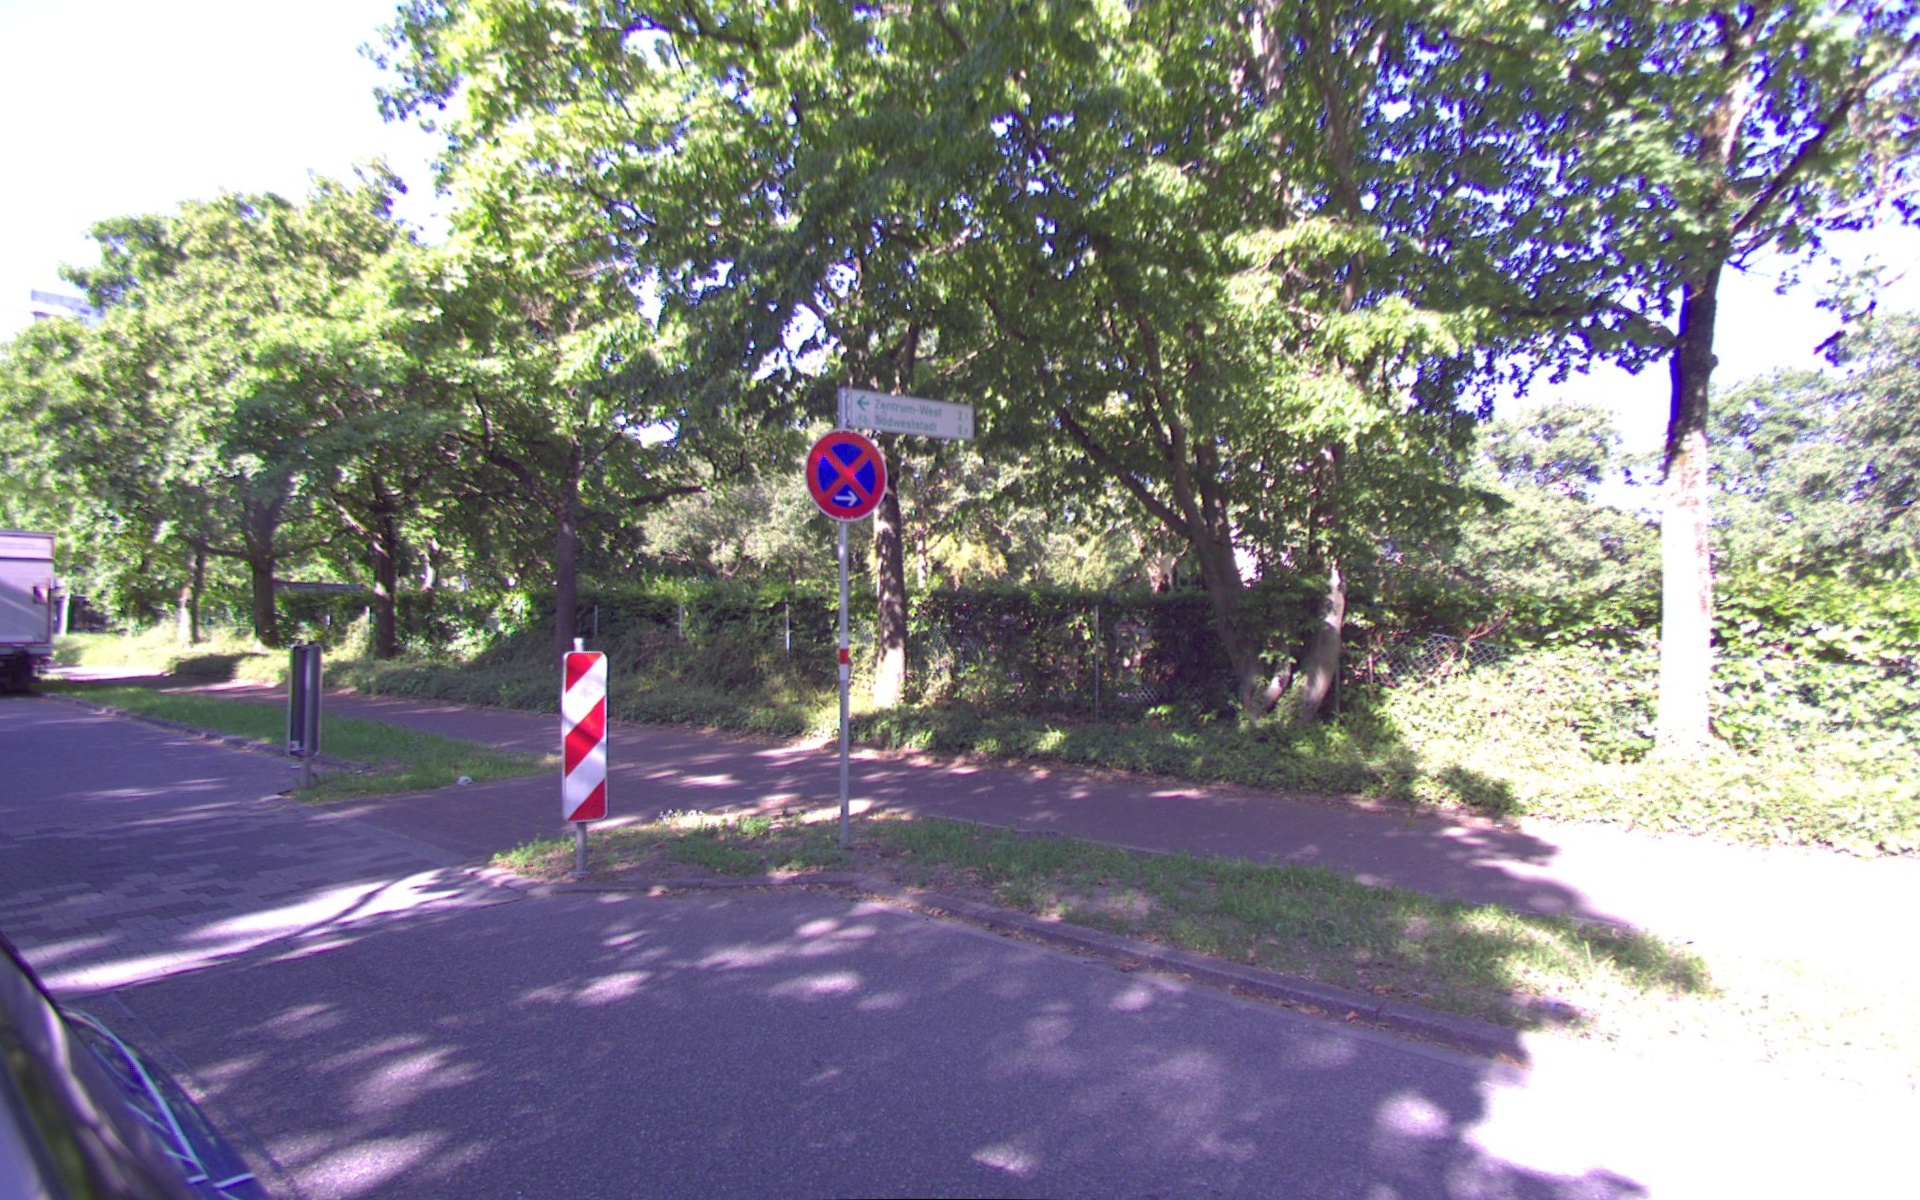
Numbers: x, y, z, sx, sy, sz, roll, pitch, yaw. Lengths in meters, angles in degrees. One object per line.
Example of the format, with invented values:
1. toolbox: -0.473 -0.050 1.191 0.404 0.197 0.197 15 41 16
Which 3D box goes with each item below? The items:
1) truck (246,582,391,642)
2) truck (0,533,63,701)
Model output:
1. truck: -23.430 0.494 37.055 2.201 2.029 3.949 -2 -3 37
2. truck: -24.277 0.452 24.408 8.093 3.669 2.707 -2 -2 40
